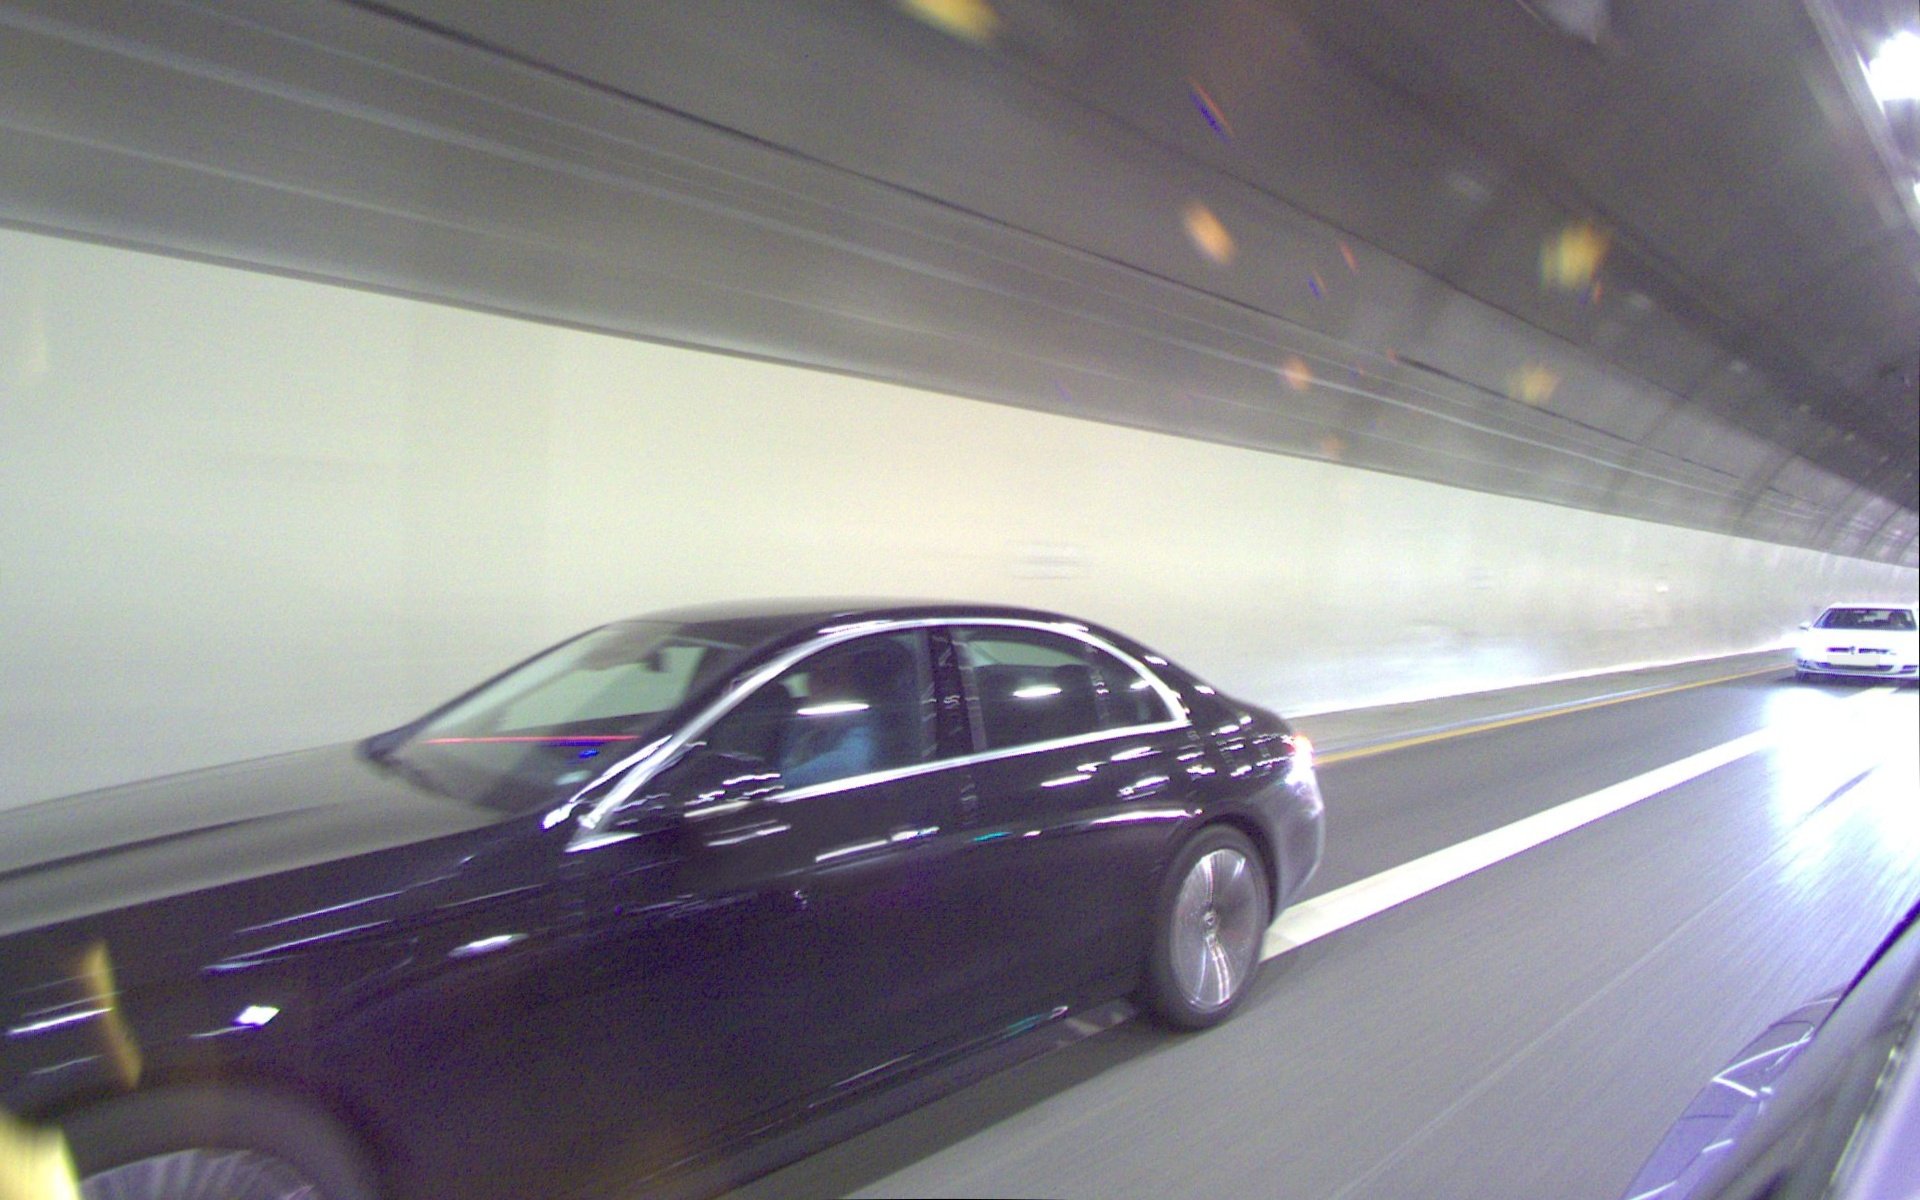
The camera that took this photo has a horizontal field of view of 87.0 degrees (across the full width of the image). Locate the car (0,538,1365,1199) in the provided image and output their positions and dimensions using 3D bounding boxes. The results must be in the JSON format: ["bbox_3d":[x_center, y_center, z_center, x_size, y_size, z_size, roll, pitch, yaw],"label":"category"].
[{"bbox_3d":[-0.791,0.642,3.373,4.867,1.491,1.929,-1,0,-40],"label":"car"}]

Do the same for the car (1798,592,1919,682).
[{"bbox_3d":[16.965,0.608,18.503,3.962,1.479,1.801,0,0,-39],"label":"car"}]
